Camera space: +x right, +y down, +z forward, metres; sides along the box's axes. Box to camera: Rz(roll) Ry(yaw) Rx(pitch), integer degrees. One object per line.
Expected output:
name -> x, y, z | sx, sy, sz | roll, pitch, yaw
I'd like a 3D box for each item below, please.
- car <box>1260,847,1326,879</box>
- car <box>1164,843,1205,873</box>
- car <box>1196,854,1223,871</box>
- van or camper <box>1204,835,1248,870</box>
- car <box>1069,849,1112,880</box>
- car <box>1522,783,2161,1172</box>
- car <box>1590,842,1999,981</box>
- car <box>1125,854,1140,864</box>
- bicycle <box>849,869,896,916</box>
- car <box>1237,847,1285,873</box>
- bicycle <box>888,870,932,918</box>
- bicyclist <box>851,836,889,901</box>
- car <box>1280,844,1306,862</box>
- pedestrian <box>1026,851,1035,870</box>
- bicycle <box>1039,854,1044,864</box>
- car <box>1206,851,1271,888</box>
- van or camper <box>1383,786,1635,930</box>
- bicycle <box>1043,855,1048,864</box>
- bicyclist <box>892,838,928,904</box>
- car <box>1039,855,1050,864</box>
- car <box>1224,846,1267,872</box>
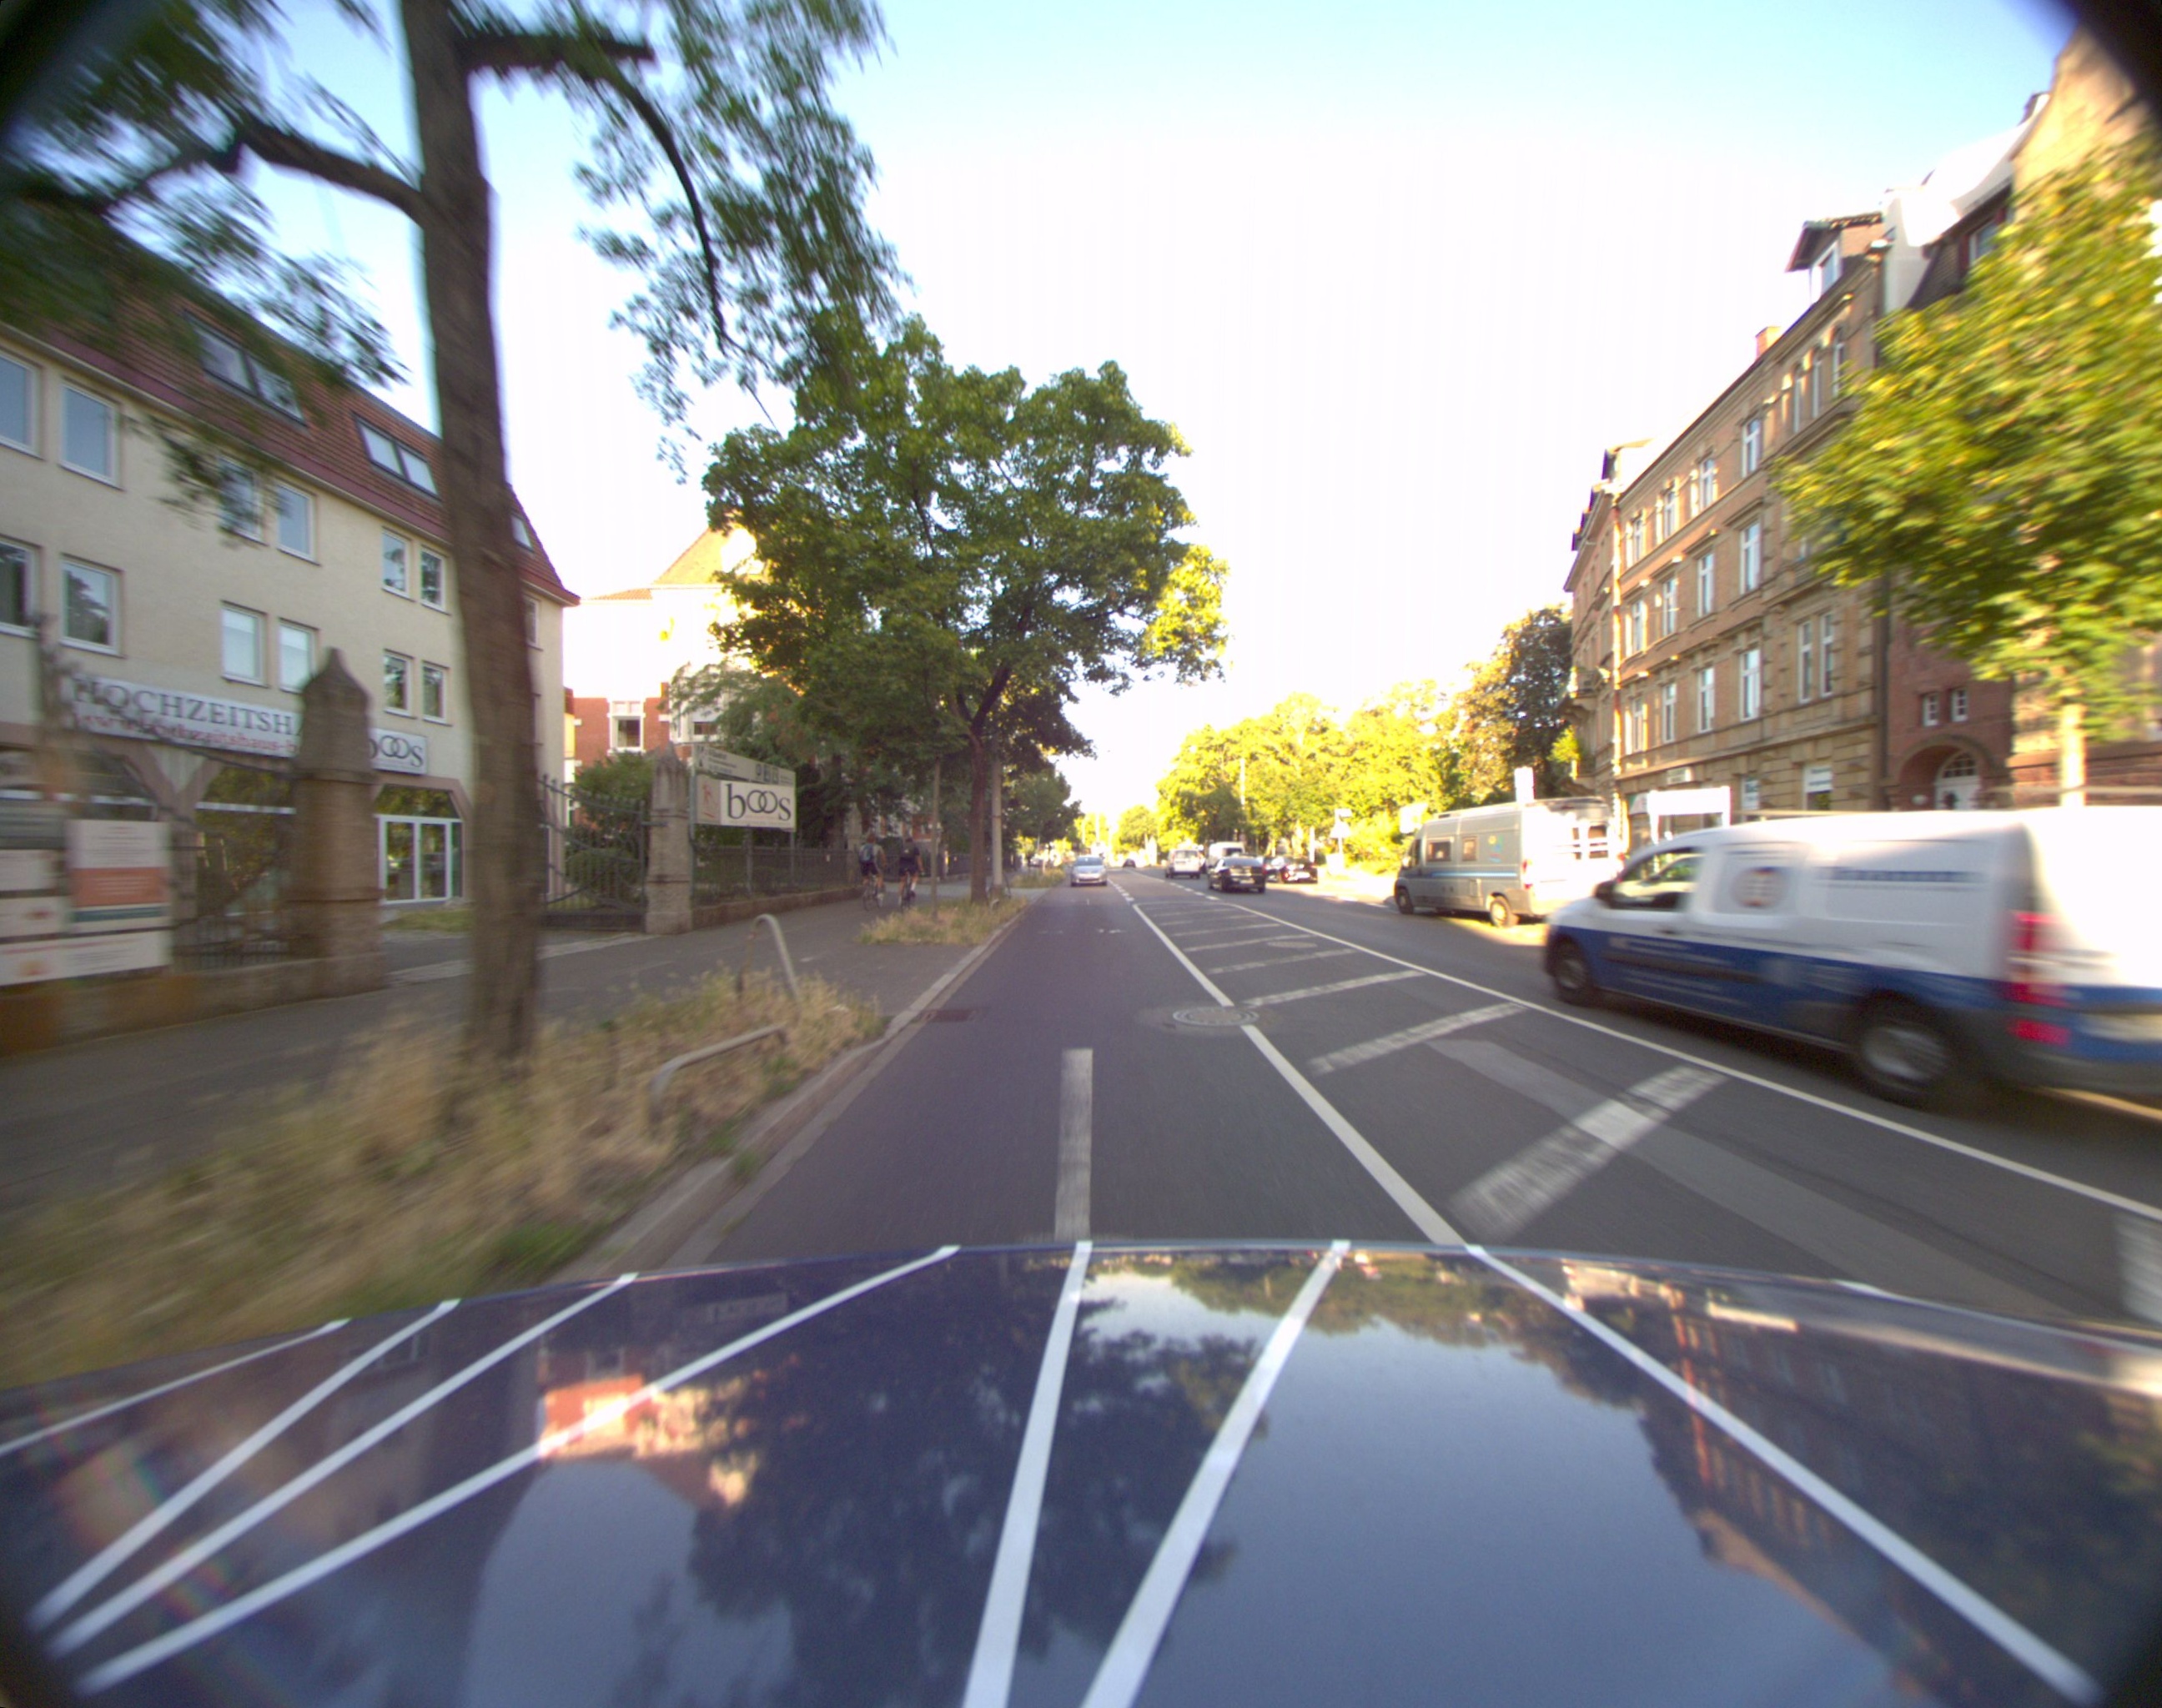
car -> 10.540, 0.415, 38.176 | 1.998, 1.475, 4.829 | 0, 0, 0
car -> 6.625, 0.235, 49.134 | 1.998, 1.821, 5.170 | 1, 0, 1
car -> 11.133, 0.718, 65.968 | 1.632, 1.421, 4.242 | 1, 0, 0
van or camper -> 10.959, -0.098, 58.041 | 2.096, 2.454, 6.305 | 1, 0, 0
car -> 0.416, 0.501, 38.124 | 1.896, 1.454, 3.965 | 0, -1, -3
car -> 5.634, 0.601, 5.846 | 1.837, 1.842, 4.473 | 1, 0, 0
car -> 9.609, 0.657, 10.847 | 1.750, 1.526, 4.302 | -2, 0, 0
car -> 7.244, 0.742, 107.090 | 1.770, 1.394, 4.545 | 0, 0, 1
bicycle -> -5.053, 0.900, 18.501 | 0.518, 1.034, 2.089 | -2, 0, 0
car -> 10.546, 0.353, 44.857 | 1.740, 1.437, 4.625 | 0, 0, 0
bicycle -> -4.129, 0.938, 18.509 | 0.545, 1.034, 2.089 | -2, 0, 0
bicyclist -> -5.083, 0.338, 18.354 | 0.597, 1.523, 0.893 | -2, 0, 0
car -> 27.754, -0.088, 99.728 | 2.220, 2.275, 5.099 | -1, 0, 3
pedestrian -> -4.818, 0.616, 72.761 | 0.747, 1.768, 0.831 | 3, 0, -4
bicycle -> -5.680, 0.745, 108.698 | 0.567, 1.268, 2.263 | 4, 1, -4
car -> 6.246, 0.580, 30.581 | 1.764, 1.378, 4.304 | 1, 0, 1
van or camper -> 9.324, 0.079, 17.410 | 1.999, 2.653, 6.036 | -2, 0, -4
bicycle -> -5.102, 0.782, 108.748 | 0.567, 1.292, 2.263 | 4, 1, -4
bicyclist -> -4.117, 0.407, 18.328 | 0.597, 1.523, 0.893 | -2, 0, 0
car -> -5.940, 0.894, 123.337 | 1.682, 1.418, 3.674 | 3, 0, -6
car -> 10.982, 0.343, 50.896 | 1.870, 1.635, 4.571 | 1, 0, 0
